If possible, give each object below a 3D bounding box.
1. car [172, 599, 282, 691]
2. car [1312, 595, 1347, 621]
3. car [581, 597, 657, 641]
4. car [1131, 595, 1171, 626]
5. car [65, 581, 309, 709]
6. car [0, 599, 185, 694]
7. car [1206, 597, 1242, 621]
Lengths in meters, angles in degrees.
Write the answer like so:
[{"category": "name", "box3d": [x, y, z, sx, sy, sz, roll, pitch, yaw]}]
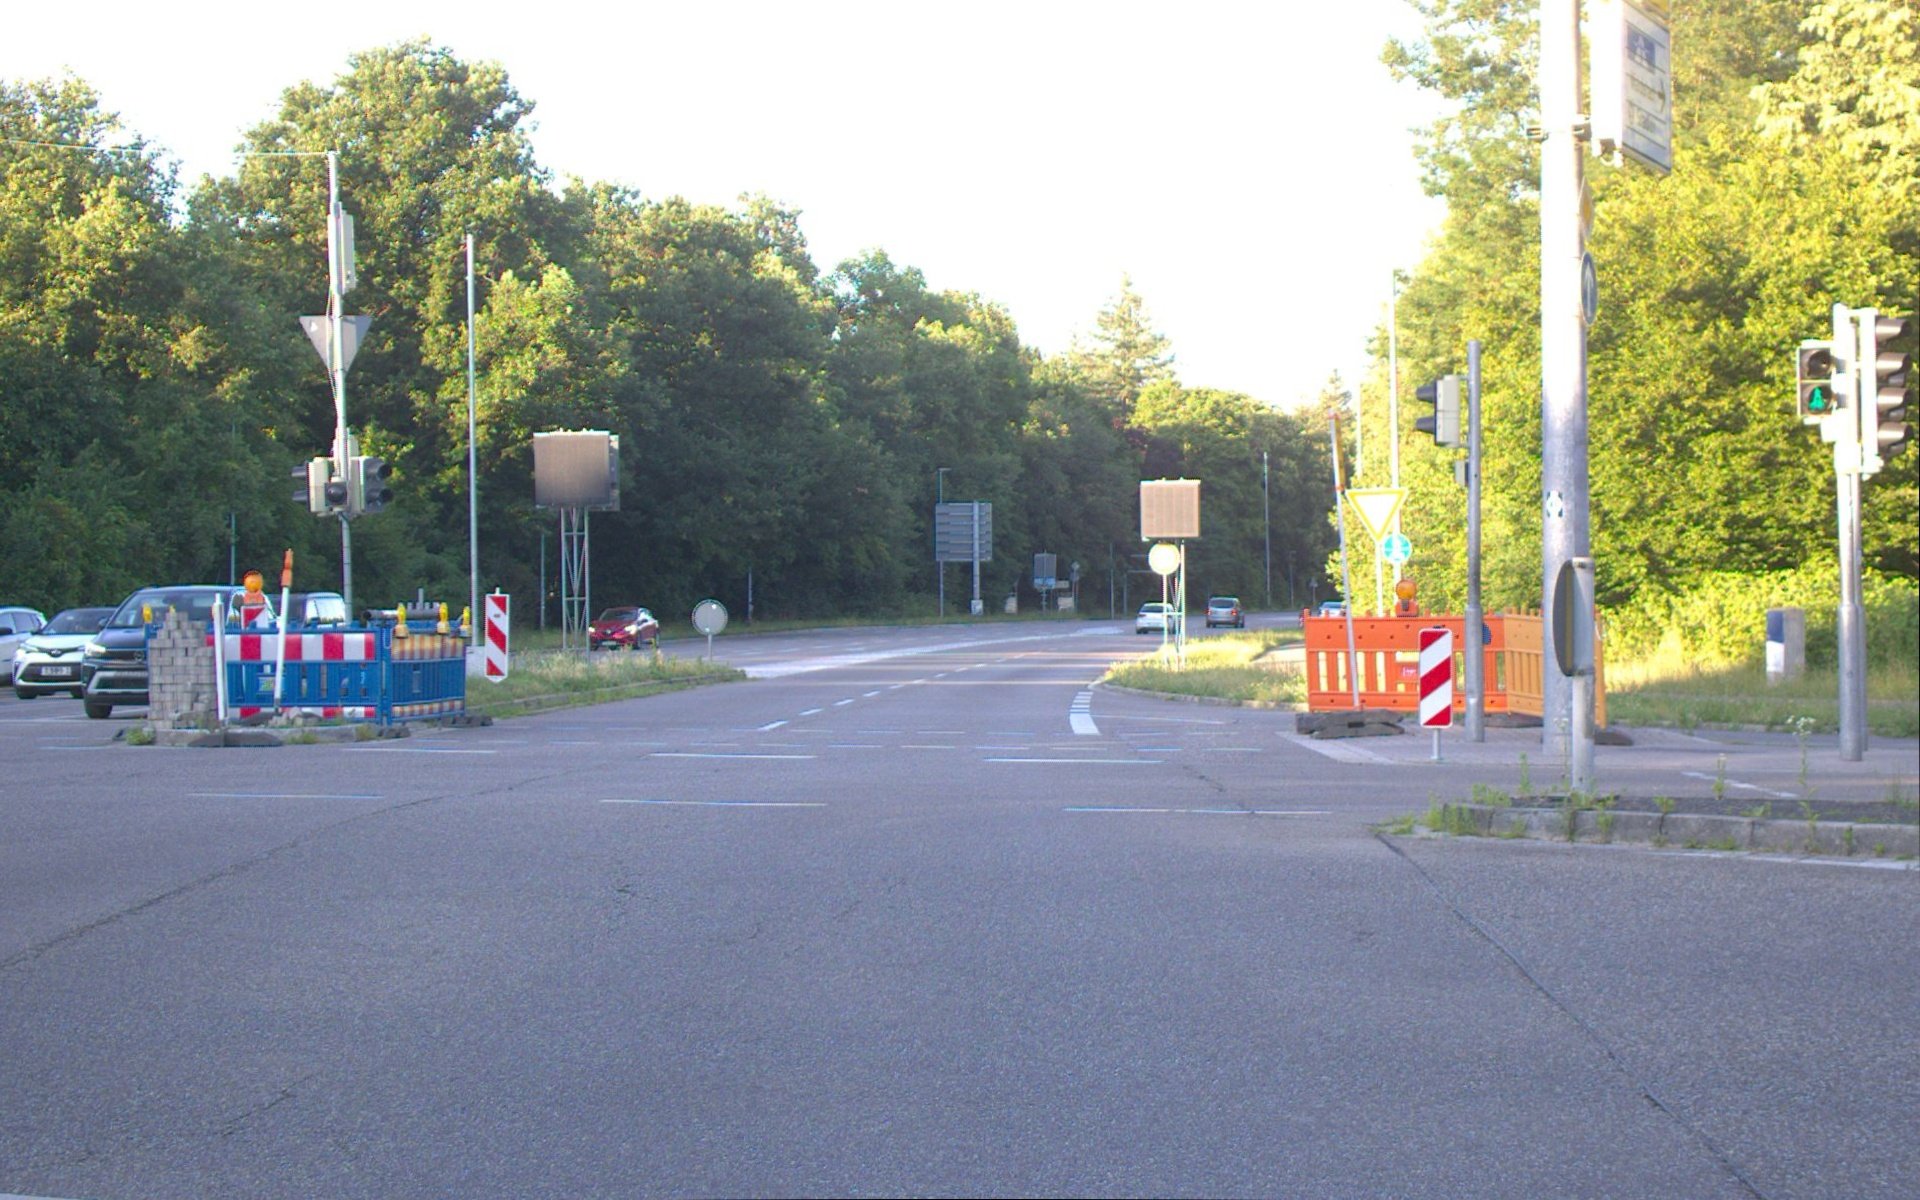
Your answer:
[{"category": "car", "box3d": [-16.838, 1.011, 79.138, 1.877, 2.017, 4.234, -1, 1, -4]}, {"category": "car", "box3d": [22.720, 0.502, 211.519, 1.578, 1.529, 3.675, 0, 1, 15]}, {"category": "car", "box3d": [-11.613, 0.643, 117.358, 1.878, 1.417, 4.233, -1, 1, 4]}, {"category": "car", "box3d": [8.831, 0.482, 158.613, 1.547, 1.343, 3.113, -1, 1, 8]}, {"category": "car", "box3d": [-9.335, 0.507, 41.854, 1.716, 1.451, 4.232, 0, 1, 5]}, {"category": "car", "box3d": [-14.311, 0.738, 56.898, 1.716, 1.451, 4.233, 0, 1, 4]}, {"category": "car", "box3d": [14.221, 0.491, 185.247, 1.456, 1.240, 2.962, 0, 1, 14]}]
